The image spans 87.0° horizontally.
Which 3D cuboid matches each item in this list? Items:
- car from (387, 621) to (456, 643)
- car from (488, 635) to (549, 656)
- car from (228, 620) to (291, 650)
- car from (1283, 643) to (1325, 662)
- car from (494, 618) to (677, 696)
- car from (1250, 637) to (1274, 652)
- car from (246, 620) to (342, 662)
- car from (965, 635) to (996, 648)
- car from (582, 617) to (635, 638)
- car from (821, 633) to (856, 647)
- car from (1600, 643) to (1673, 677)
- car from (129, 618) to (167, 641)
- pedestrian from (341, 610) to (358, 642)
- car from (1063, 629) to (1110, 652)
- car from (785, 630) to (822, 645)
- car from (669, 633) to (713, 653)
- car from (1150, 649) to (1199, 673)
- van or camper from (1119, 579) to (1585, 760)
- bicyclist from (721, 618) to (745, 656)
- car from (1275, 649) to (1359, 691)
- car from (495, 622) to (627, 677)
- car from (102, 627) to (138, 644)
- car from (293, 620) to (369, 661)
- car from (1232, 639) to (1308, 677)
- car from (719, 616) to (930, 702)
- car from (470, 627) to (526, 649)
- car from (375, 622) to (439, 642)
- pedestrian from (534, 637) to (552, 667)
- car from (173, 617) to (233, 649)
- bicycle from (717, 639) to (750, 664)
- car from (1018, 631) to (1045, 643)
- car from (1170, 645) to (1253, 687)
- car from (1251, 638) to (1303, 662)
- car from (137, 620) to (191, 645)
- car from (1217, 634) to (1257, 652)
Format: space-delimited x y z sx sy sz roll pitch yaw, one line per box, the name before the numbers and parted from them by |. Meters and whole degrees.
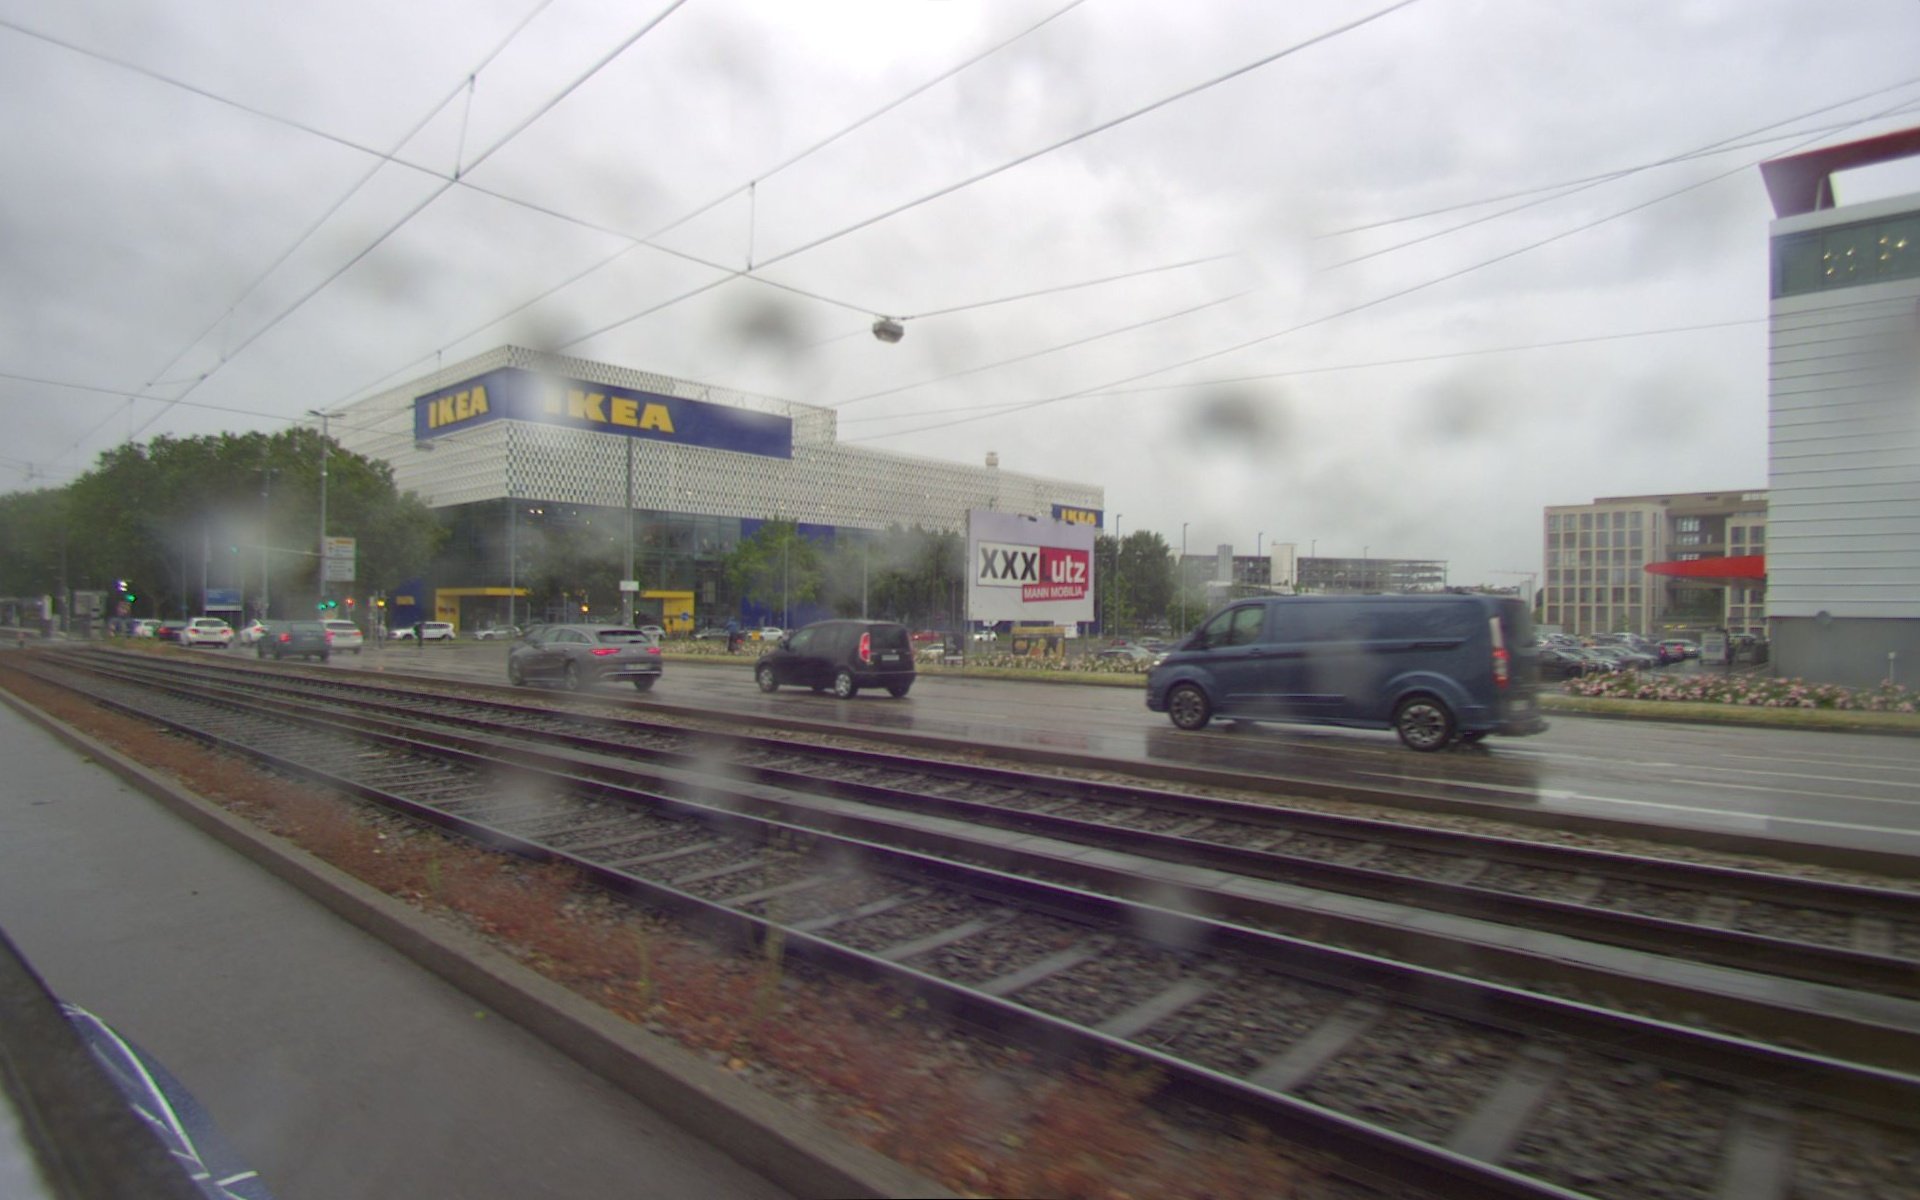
car | -42.086 2.508 79.138 1.820 1.552 4.399 -2 -1 44
car | -36.817 3.788 84.479 1.820 1.552 4.319 -2 -1 44
car | -41.038 2.047 59.216 4.840 1.618 1.888 -2 1 42
car | 30.356 4.602 89.212 3.166 1.535 1.552 0 1 39
car | -8.361 1.177 22.368 4.689 1.505 1.838 0 -2 42
car | 47.877 7.042 160.389 2.000 2.029 3.943 0 1 43
car | -25.417 1.553 38.562 4.672 1.468 1.972 0 -3 43
car | 2.662 5.365 131.904 1.710 1.417 4.106 0 1 45
car | -31.323 2.434 90.227 2.000 1.615 4.051 0 1 43
car | -13.625 4.482 113.613 1.603 1.417 3.770 0 1 45
car | 46.824 4.121 70.069 3.996 2.029 1.974 0 1 39
car | -58.684 2.160 73.121 4.049 1.547 1.693 -2 -1 44
pedestrian | -44.137 1.870 73.146 0.906 2.261 0.992 -2 3 -34
car | 12.122 3.849 97.149 3.996 2.029 1.974 0 1 39
car | -16.958 4.111 110.007 1.603 1.417 3.770 0 1 45
car | -26.633 4.239 100.316 1.683 1.686 3.956 0 1 45
car | 15.803 4.468 74.639 3.166 1.535 1.552 0 1 39
van or camper | 5.246 0.833 14.208 5.686 2.029 2.279 -1 -2 43
bicyclist | -9.993 1.612 44.565 0.792 1.601 0.664 -1 1 42
car | 19.946 3.877 56.630 3.997 2.029 1.974 -1 1 40
car | -12.292 1.476 31.047 4.554 1.528 1.942 0 -3 43
car | -68.023 2.908 81.964 4.462 1.259 1.693 -2 -1 43
car | -30.046 1.879 48.305 4.693 1.848 1.971 -1 -1 44
car | 18.978 3.517 61.996 3.997 2.029 1.974 -1 1 40
car | -3.029 1.212 21.891 4.909 1.630 1.837 0 -3 44
car | -39.632 3.224 86.831 1.760 1.630 3.961 0 1 44
car | -44.789 2.608 82.061 1.820 1.552 4.227 -2 -2 44
pedestrian | -26.358 3.266 63.928 0.767 1.831 0.707 0 0 35
car | -40.515 1.751 54.125 4.329 1.585 1.852 -2 -1 44
bicycle | -9.984 2.259 44.586 1.555 1.023 0.661 -1 1 42
car | 9.824 5.032 138.574 1.603 1.417 3.770 0 1 45
car | 13.945 3.633 56.275 3.997 2.029 1.974 -1 1 40
car | 27.272 4.282 87.013 3.900 1.919 1.801 0 1 38
car | -50.206 2.104 63.790 5.084 1.434 1.901 -2 -6 44
car | 25.270 3.899 92.477 3.166 1.535 1.552 0 1 39
